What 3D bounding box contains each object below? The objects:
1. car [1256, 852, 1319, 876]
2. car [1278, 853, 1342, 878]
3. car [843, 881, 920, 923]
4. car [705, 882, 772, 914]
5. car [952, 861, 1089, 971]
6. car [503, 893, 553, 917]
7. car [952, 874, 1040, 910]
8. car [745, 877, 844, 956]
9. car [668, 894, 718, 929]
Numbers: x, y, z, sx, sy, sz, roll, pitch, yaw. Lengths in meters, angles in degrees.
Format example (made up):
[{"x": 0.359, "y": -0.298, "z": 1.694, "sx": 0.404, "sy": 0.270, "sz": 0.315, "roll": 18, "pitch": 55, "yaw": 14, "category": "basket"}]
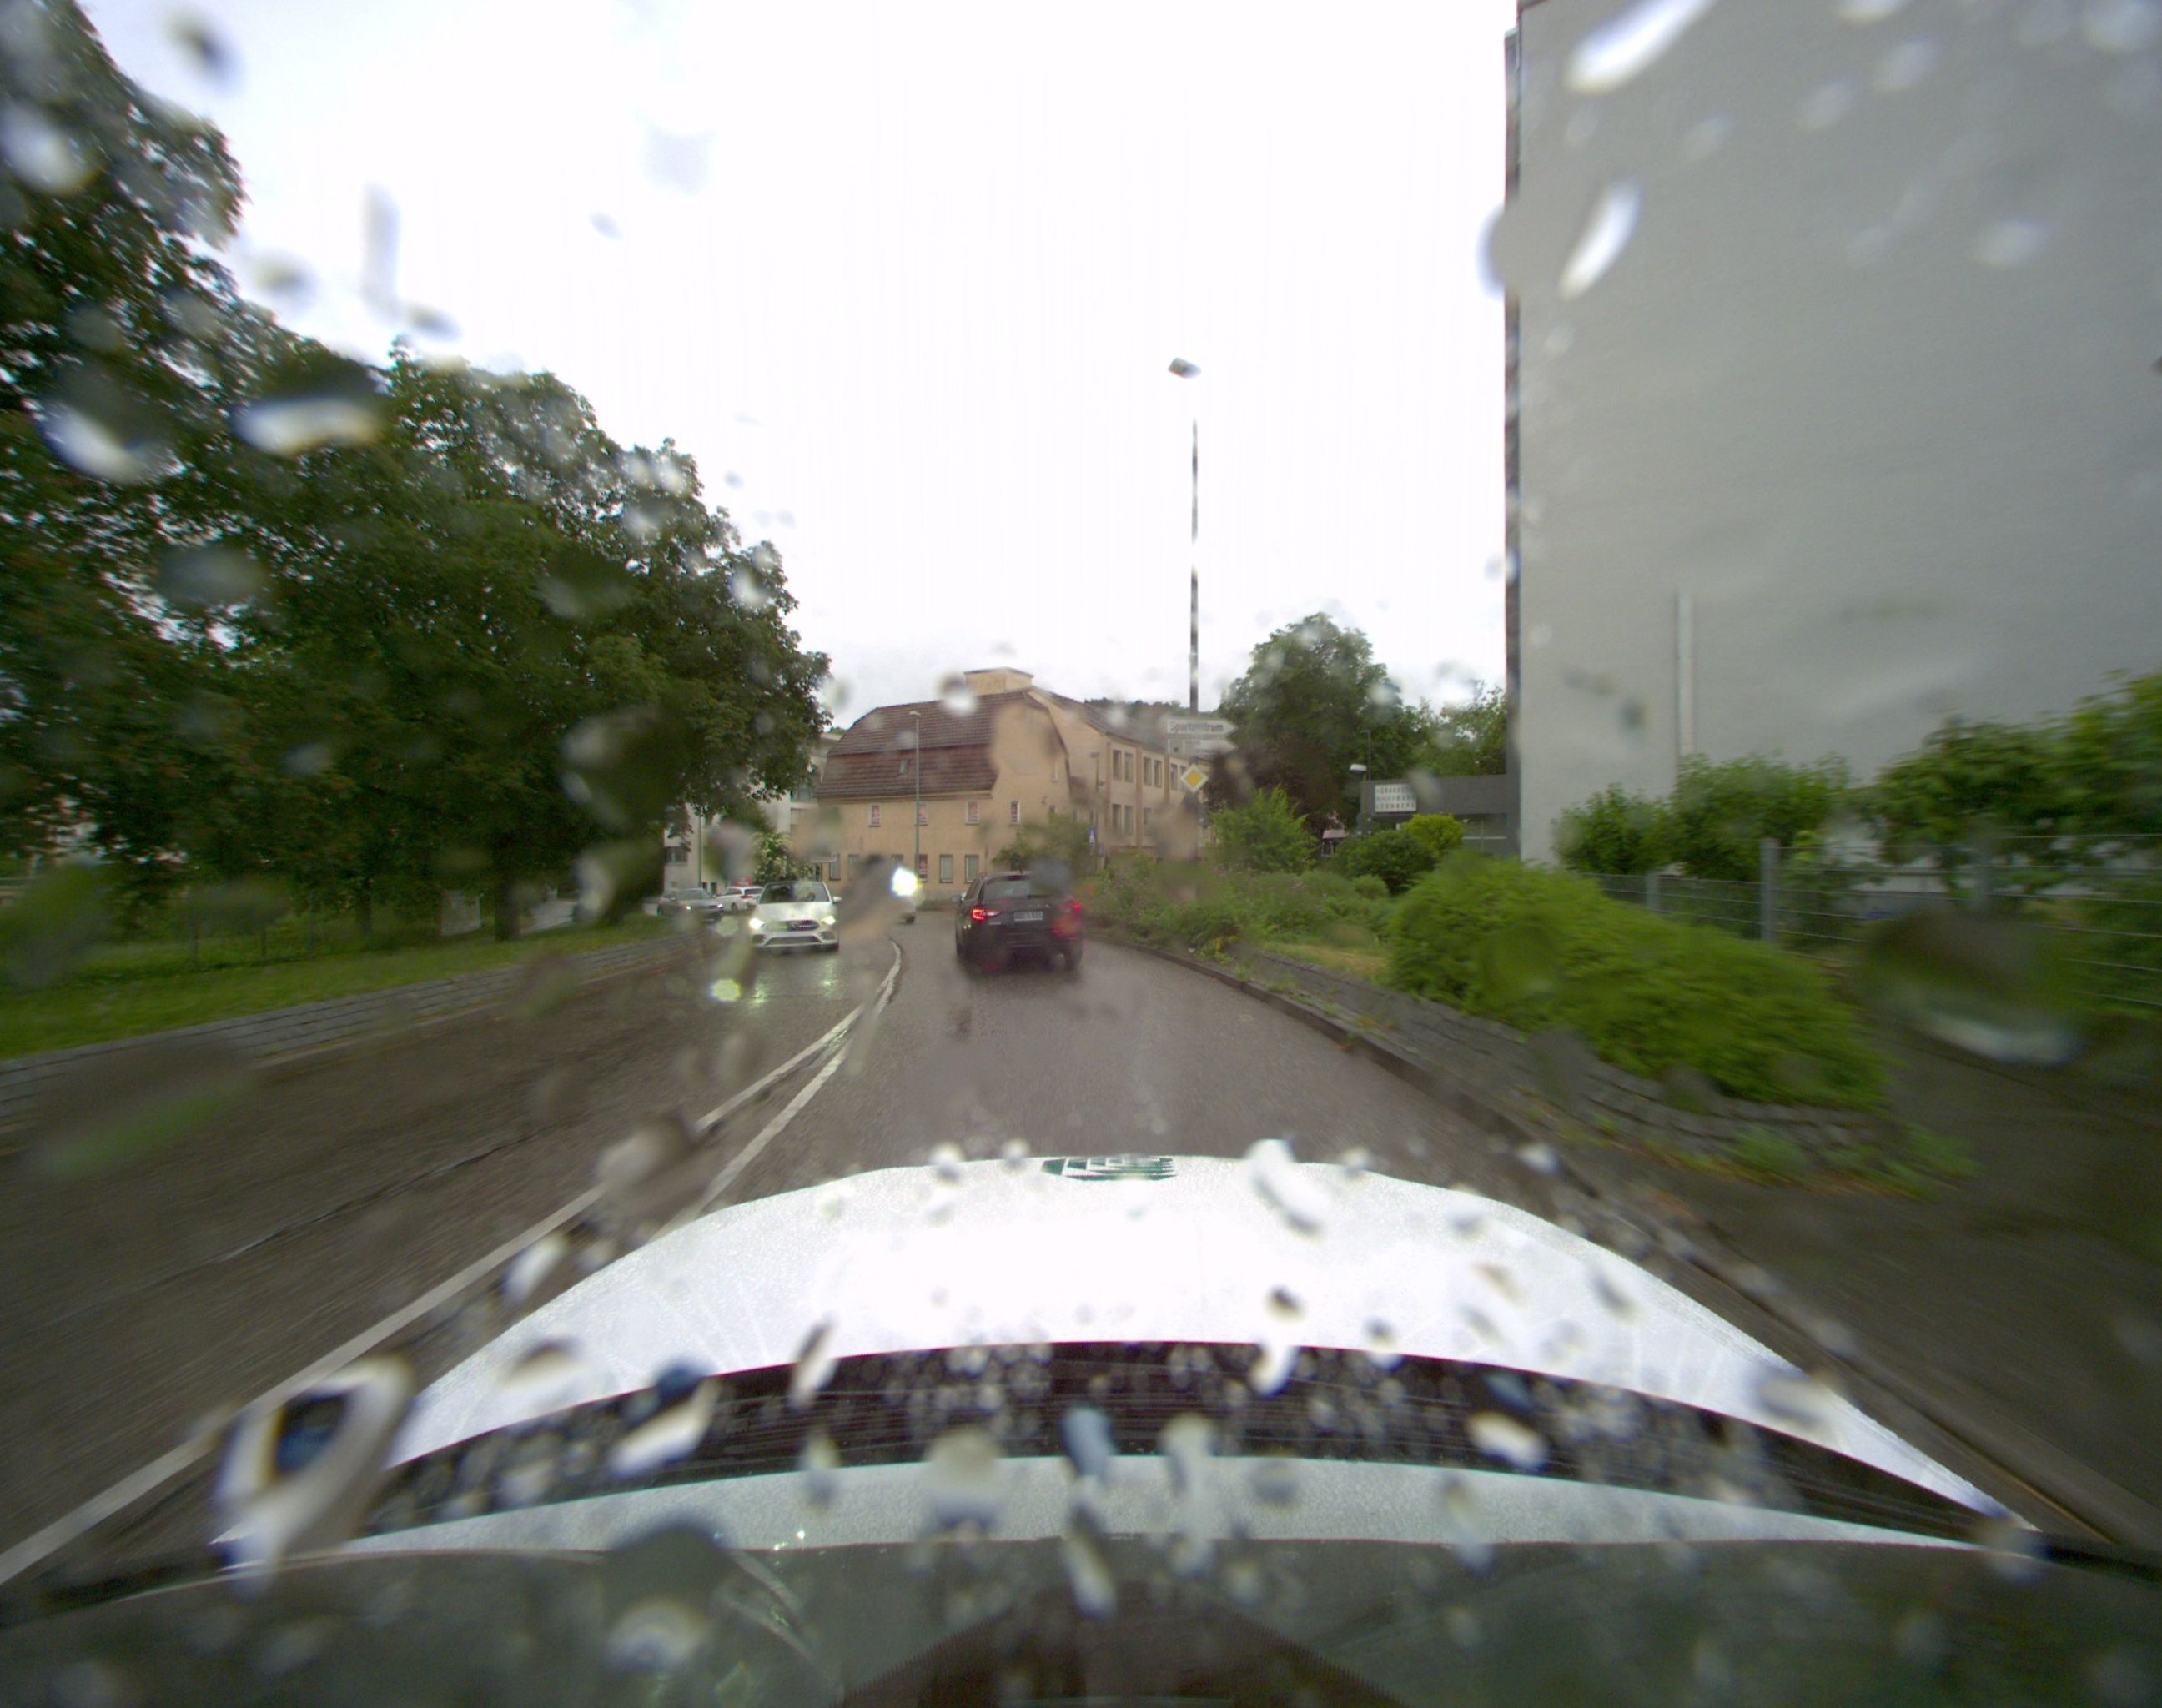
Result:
[{"x": 15.147, "y": 0.735, "z": 59.830, "sx": 4.372, "sy": 1.573, "sz": 1.726, "roll": -2, "pitch": -1, "yaw": 15, "category": "car"}, {"x": 15.646, "y": 0.766, "z": 55.719, "sx": 3.854, "sy": 1.573, "sz": 1.730, "roll": -2, "pitch": -1, "yaw": 29, "category": "car"}, {"x": -7.545, "y": 1.737, "z": 30.585, "sx": 1.829, "sy": 1.359, "sz": 3.952, "roll": 0, "pitch": -1, "yaw": -29, "category": "car"}, {"x": -18.260, "y": 2.351, "z": 43.340, "sx": 4.131, "sy": 1.591, "sz": 1.743, "roll": -5, "pitch": -4, "yaw": 44, "category": "car"}, {"x": -1.176, "y": 0.962, "z": 13.711, "sx": 1.783, "sy": 1.483, "sz": 4.229, "roll": -2, "pitch": -2, "yaw": -11, "category": "car"}, {"x": -40.829, "y": 3.761, "z": 60.122, "sx": 3.640, "sy": 1.590, "sz": 1.911, "roll": -1, "pitch": 0, "yaw": 36, "category": "car"}, {"x": -3.979, "y": 1.746, "z": 38.124, "sx": 3.768, "sy": 1.453, "sz": 1.699, "roll": -2, "pitch": -1, "yaw": -23, "category": "car"}, {"x": -6.303, "y": 1.294, "z": 18.296, "sx": 1.726, "sy": 1.505, "sz": 4.236, "roll": -1, "pitch": -1, "yaw": -15, "category": "car"}, {"x": -18.617, "y": 2.738, "z": 38.997, "sx": 1.739, "sy": 1.543, "sz": 4.257, "roll": 0, "pitch": -3, "yaw": -31, "category": "car"}]
